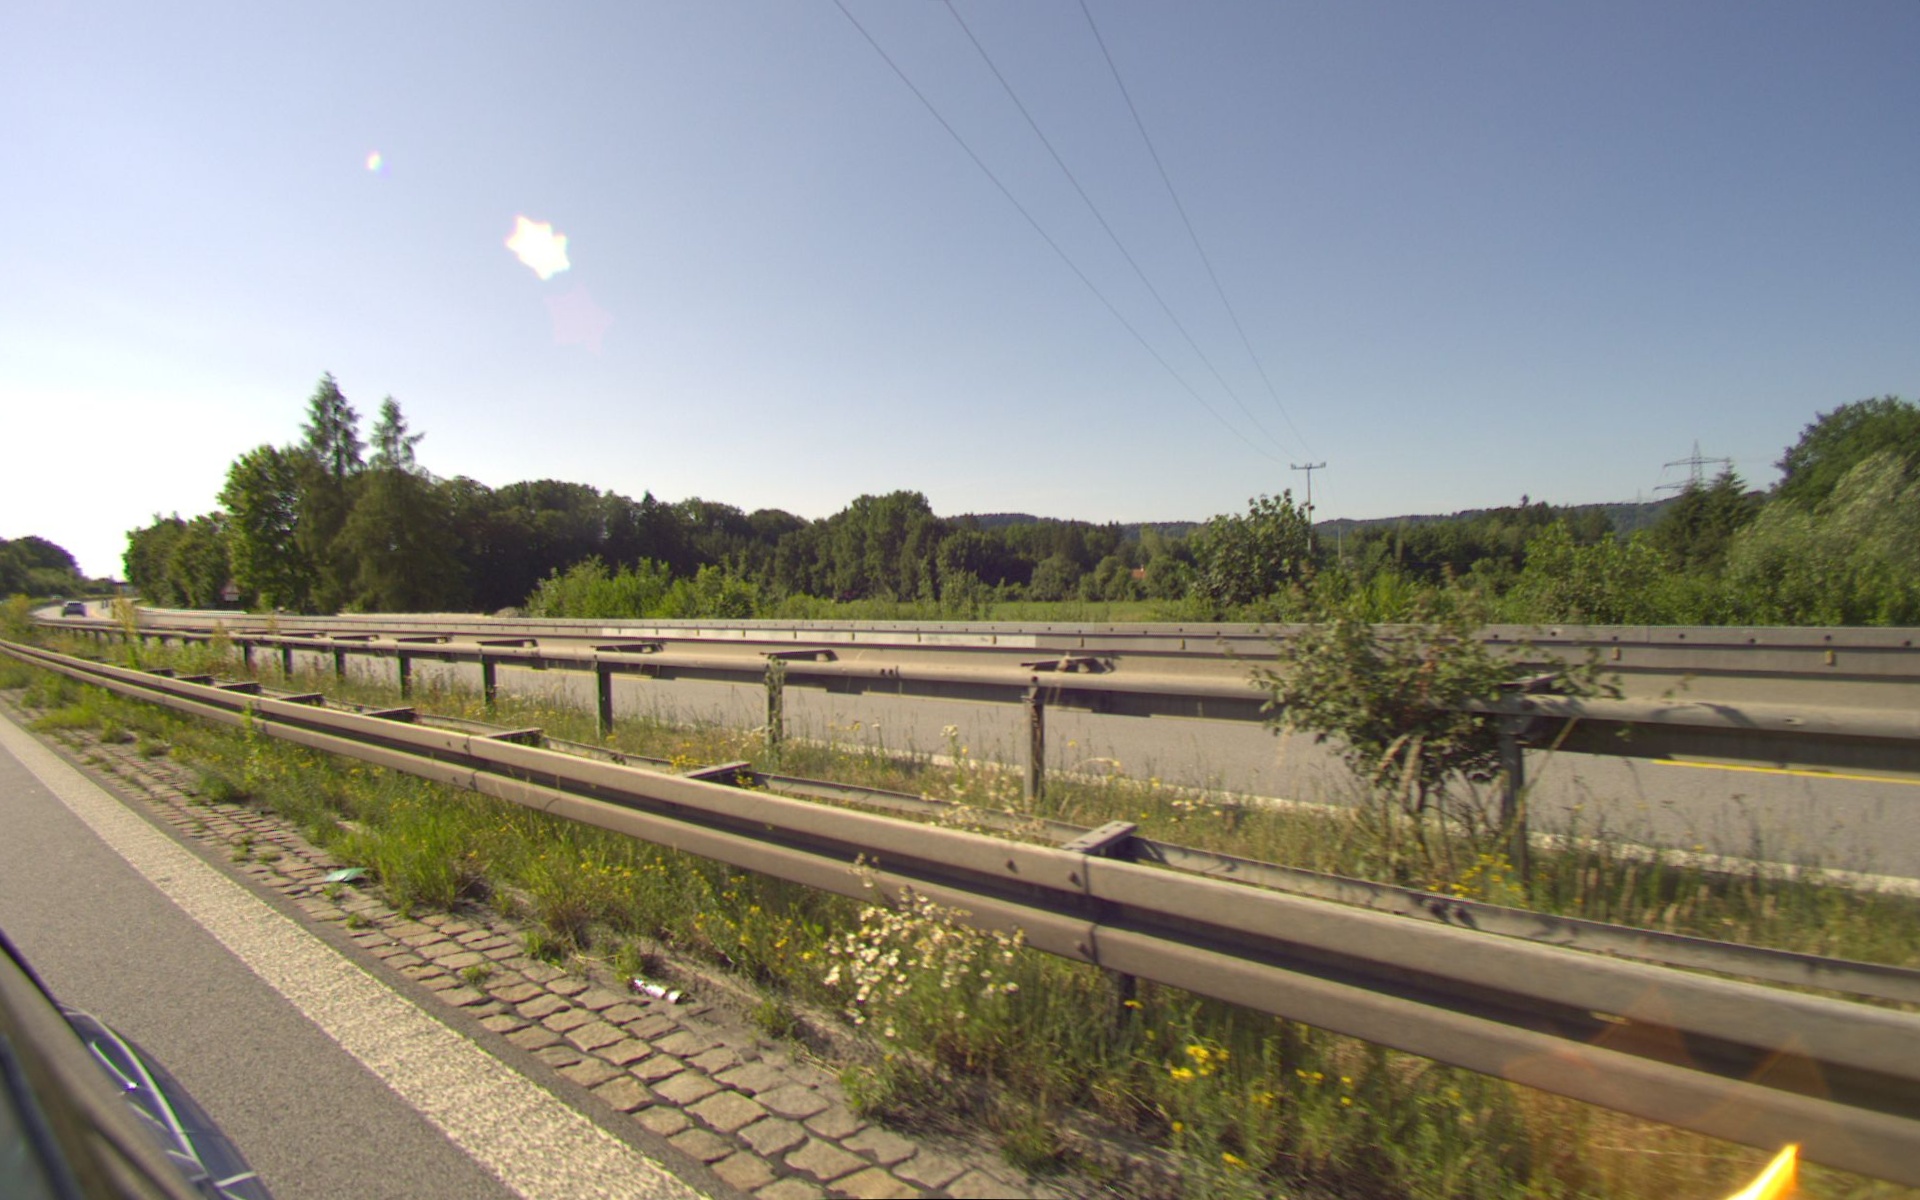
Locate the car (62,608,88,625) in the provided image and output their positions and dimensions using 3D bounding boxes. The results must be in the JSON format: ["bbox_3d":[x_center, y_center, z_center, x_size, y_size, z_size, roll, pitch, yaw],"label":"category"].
[{"bbox_3d":[-87.265,1.610,99.749,1.739,1.523,4.539,-1,0,-43],"label":"car"}]
